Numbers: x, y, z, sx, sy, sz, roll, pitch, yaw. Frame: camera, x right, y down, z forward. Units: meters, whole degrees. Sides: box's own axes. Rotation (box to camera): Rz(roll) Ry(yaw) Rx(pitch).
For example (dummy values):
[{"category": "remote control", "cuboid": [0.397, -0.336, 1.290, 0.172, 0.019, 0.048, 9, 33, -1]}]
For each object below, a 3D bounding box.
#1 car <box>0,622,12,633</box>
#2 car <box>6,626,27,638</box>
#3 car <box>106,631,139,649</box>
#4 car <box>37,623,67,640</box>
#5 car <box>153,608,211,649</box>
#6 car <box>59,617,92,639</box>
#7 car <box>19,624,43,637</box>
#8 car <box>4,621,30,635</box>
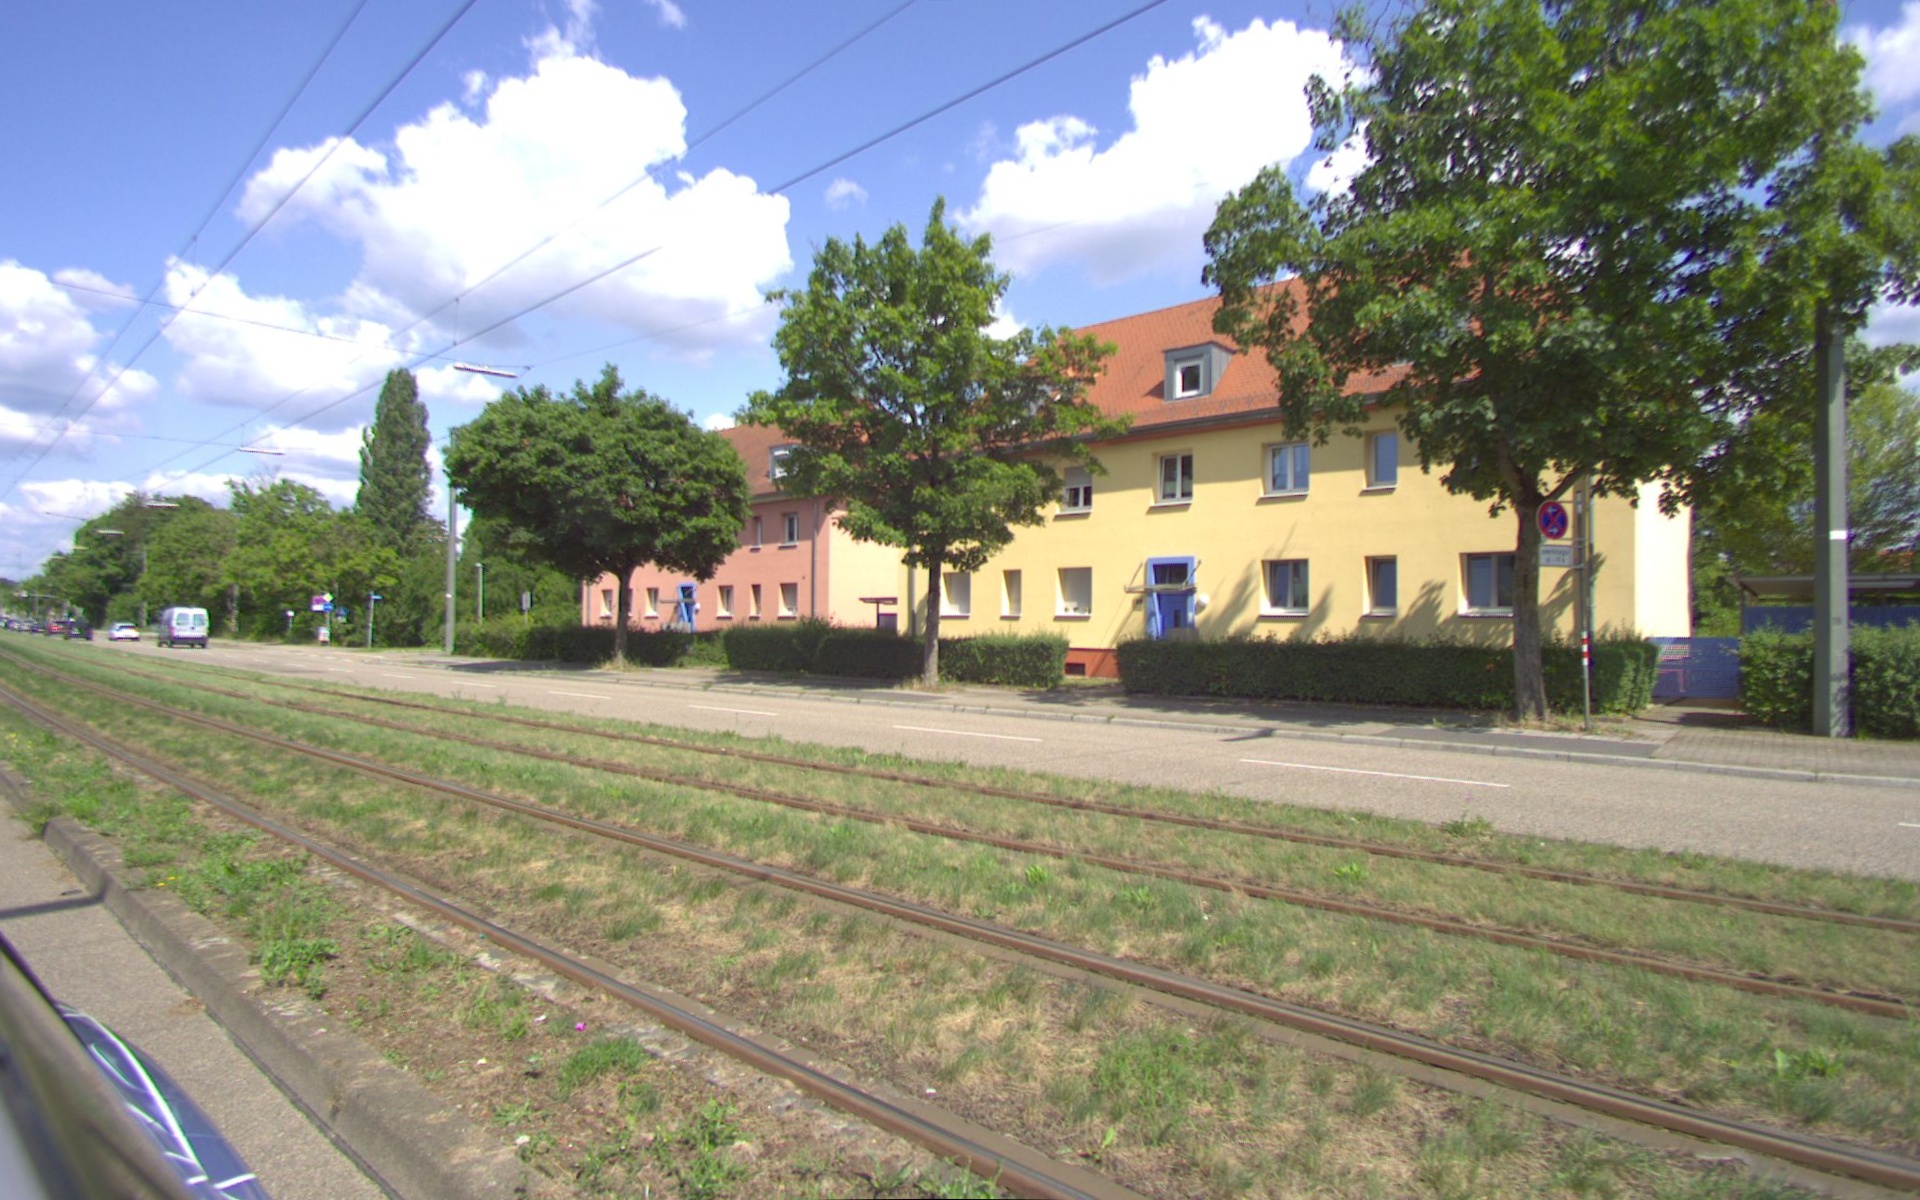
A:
[{"category": "car", "cuboid": [-137.187, 3.923, 144.732, 4.278, 1.664, 2.092, -1, -2, 45]}, {"category": "car", "cuboid": [-124.713, 4.208, 133.791, 4.278, 1.664, 1.895, -1, -2, 45]}, {"category": "car", "cuboid": [-70.346, 3.318, 84.988, 4.277, 1.442, 1.667, -1, -2, 44]}, {"category": "car", "cuboid": [-88.160, 3.068, 98.247, 4.276, 1.591, 1.708, -1, -2, 43]}, {"category": "car", "cuboid": [-49.848, 1.823, 64.791, 5.779, 2.455, 2.009, -1, -4, 44]}, {"category": "car", "cuboid": [-72.799, 2.270, 83.264, 4.228, 1.760, 1.667, -1, -2, 44]}, {"category": "car", "cuboid": [-101.188, 3.295, 110.190, 4.278, 1.405, 1.707, -1, -2, 45]}, {"category": "car", "cuboid": [-114.403, 3.425, 122.732, 4.278, 1.664, 2.092, -1, -2, 45]}]
